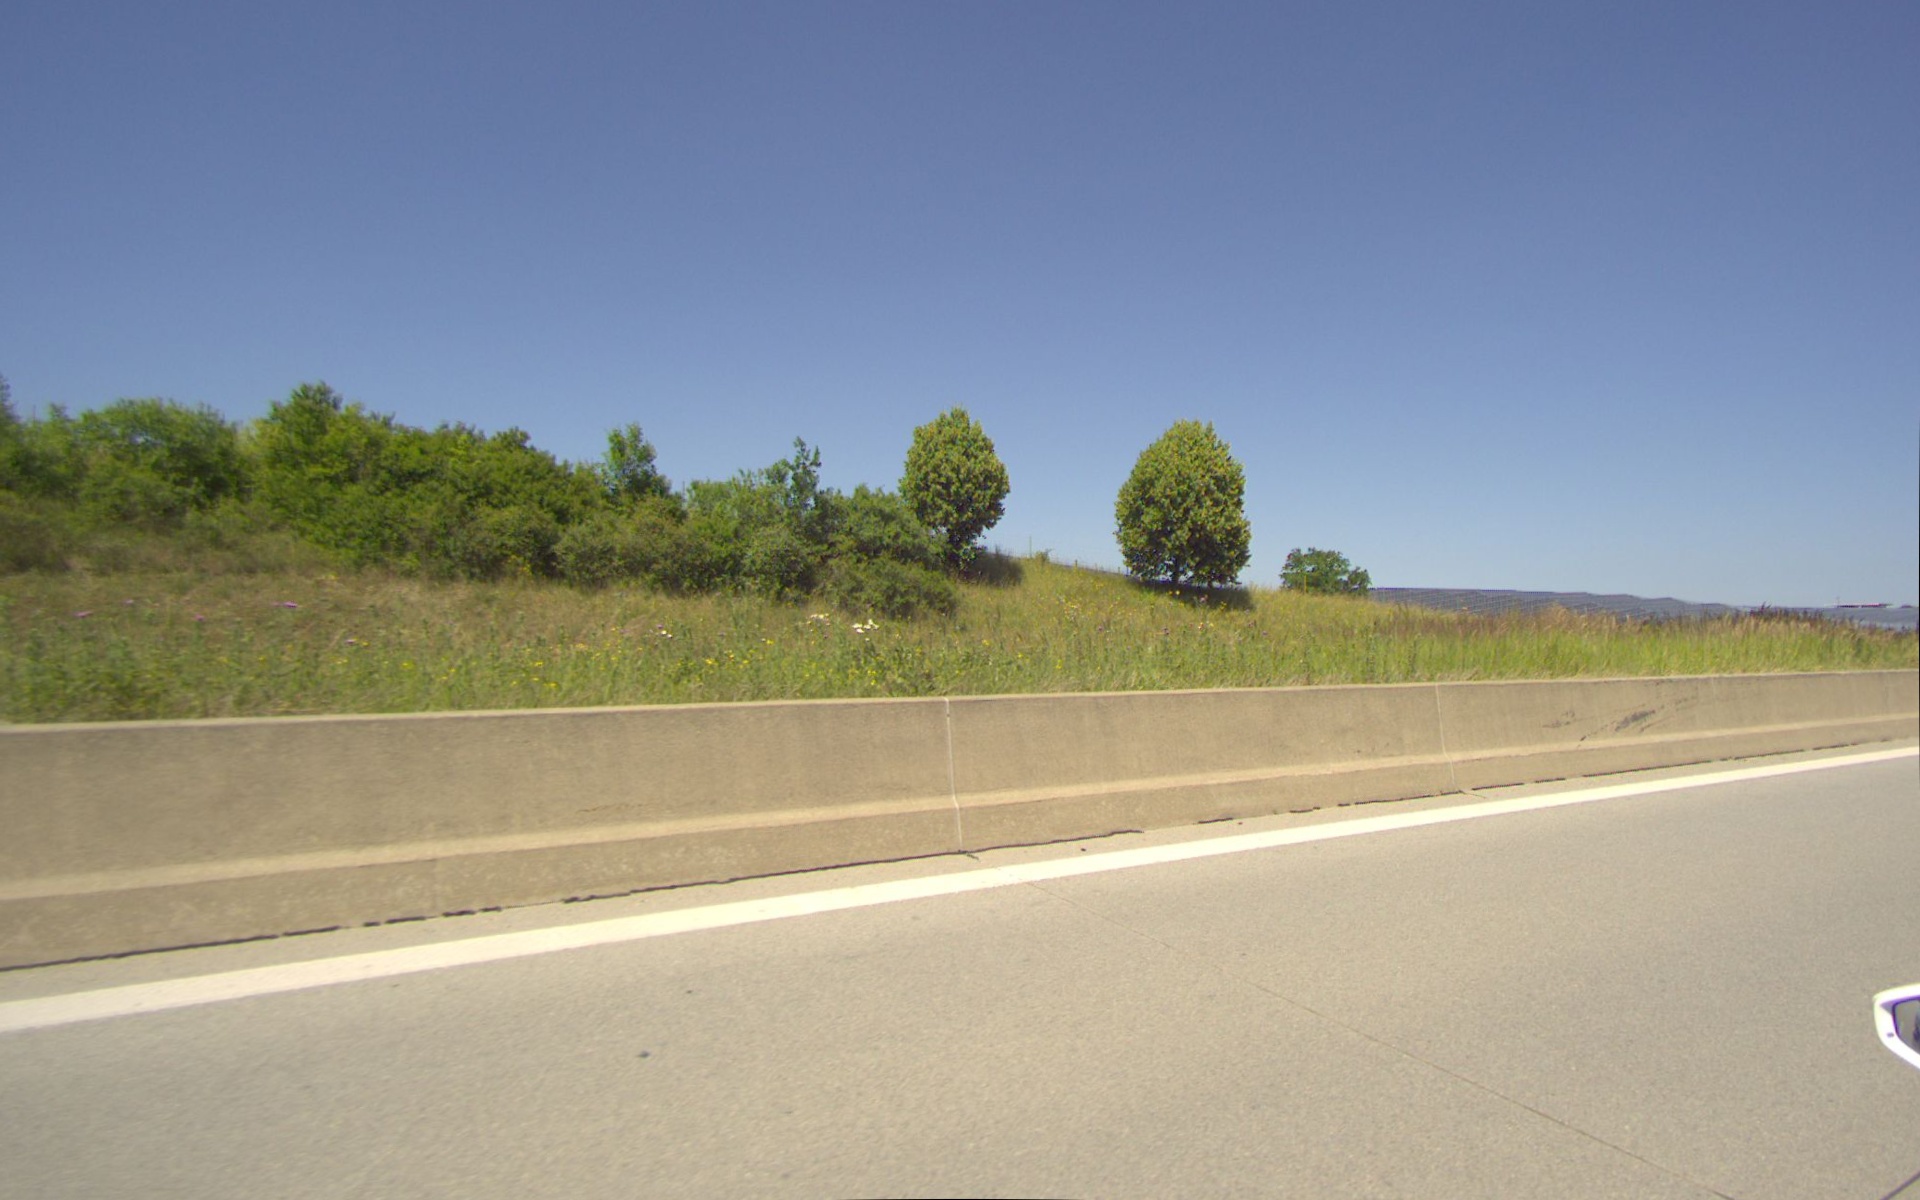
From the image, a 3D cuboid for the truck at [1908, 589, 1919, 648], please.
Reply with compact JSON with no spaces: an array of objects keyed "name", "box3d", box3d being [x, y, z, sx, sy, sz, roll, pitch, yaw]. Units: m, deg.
[{"name":"truck","box3d":[55.350,1.053,55.464,5.758,3.199,2.820,2,-2,-30]}]
